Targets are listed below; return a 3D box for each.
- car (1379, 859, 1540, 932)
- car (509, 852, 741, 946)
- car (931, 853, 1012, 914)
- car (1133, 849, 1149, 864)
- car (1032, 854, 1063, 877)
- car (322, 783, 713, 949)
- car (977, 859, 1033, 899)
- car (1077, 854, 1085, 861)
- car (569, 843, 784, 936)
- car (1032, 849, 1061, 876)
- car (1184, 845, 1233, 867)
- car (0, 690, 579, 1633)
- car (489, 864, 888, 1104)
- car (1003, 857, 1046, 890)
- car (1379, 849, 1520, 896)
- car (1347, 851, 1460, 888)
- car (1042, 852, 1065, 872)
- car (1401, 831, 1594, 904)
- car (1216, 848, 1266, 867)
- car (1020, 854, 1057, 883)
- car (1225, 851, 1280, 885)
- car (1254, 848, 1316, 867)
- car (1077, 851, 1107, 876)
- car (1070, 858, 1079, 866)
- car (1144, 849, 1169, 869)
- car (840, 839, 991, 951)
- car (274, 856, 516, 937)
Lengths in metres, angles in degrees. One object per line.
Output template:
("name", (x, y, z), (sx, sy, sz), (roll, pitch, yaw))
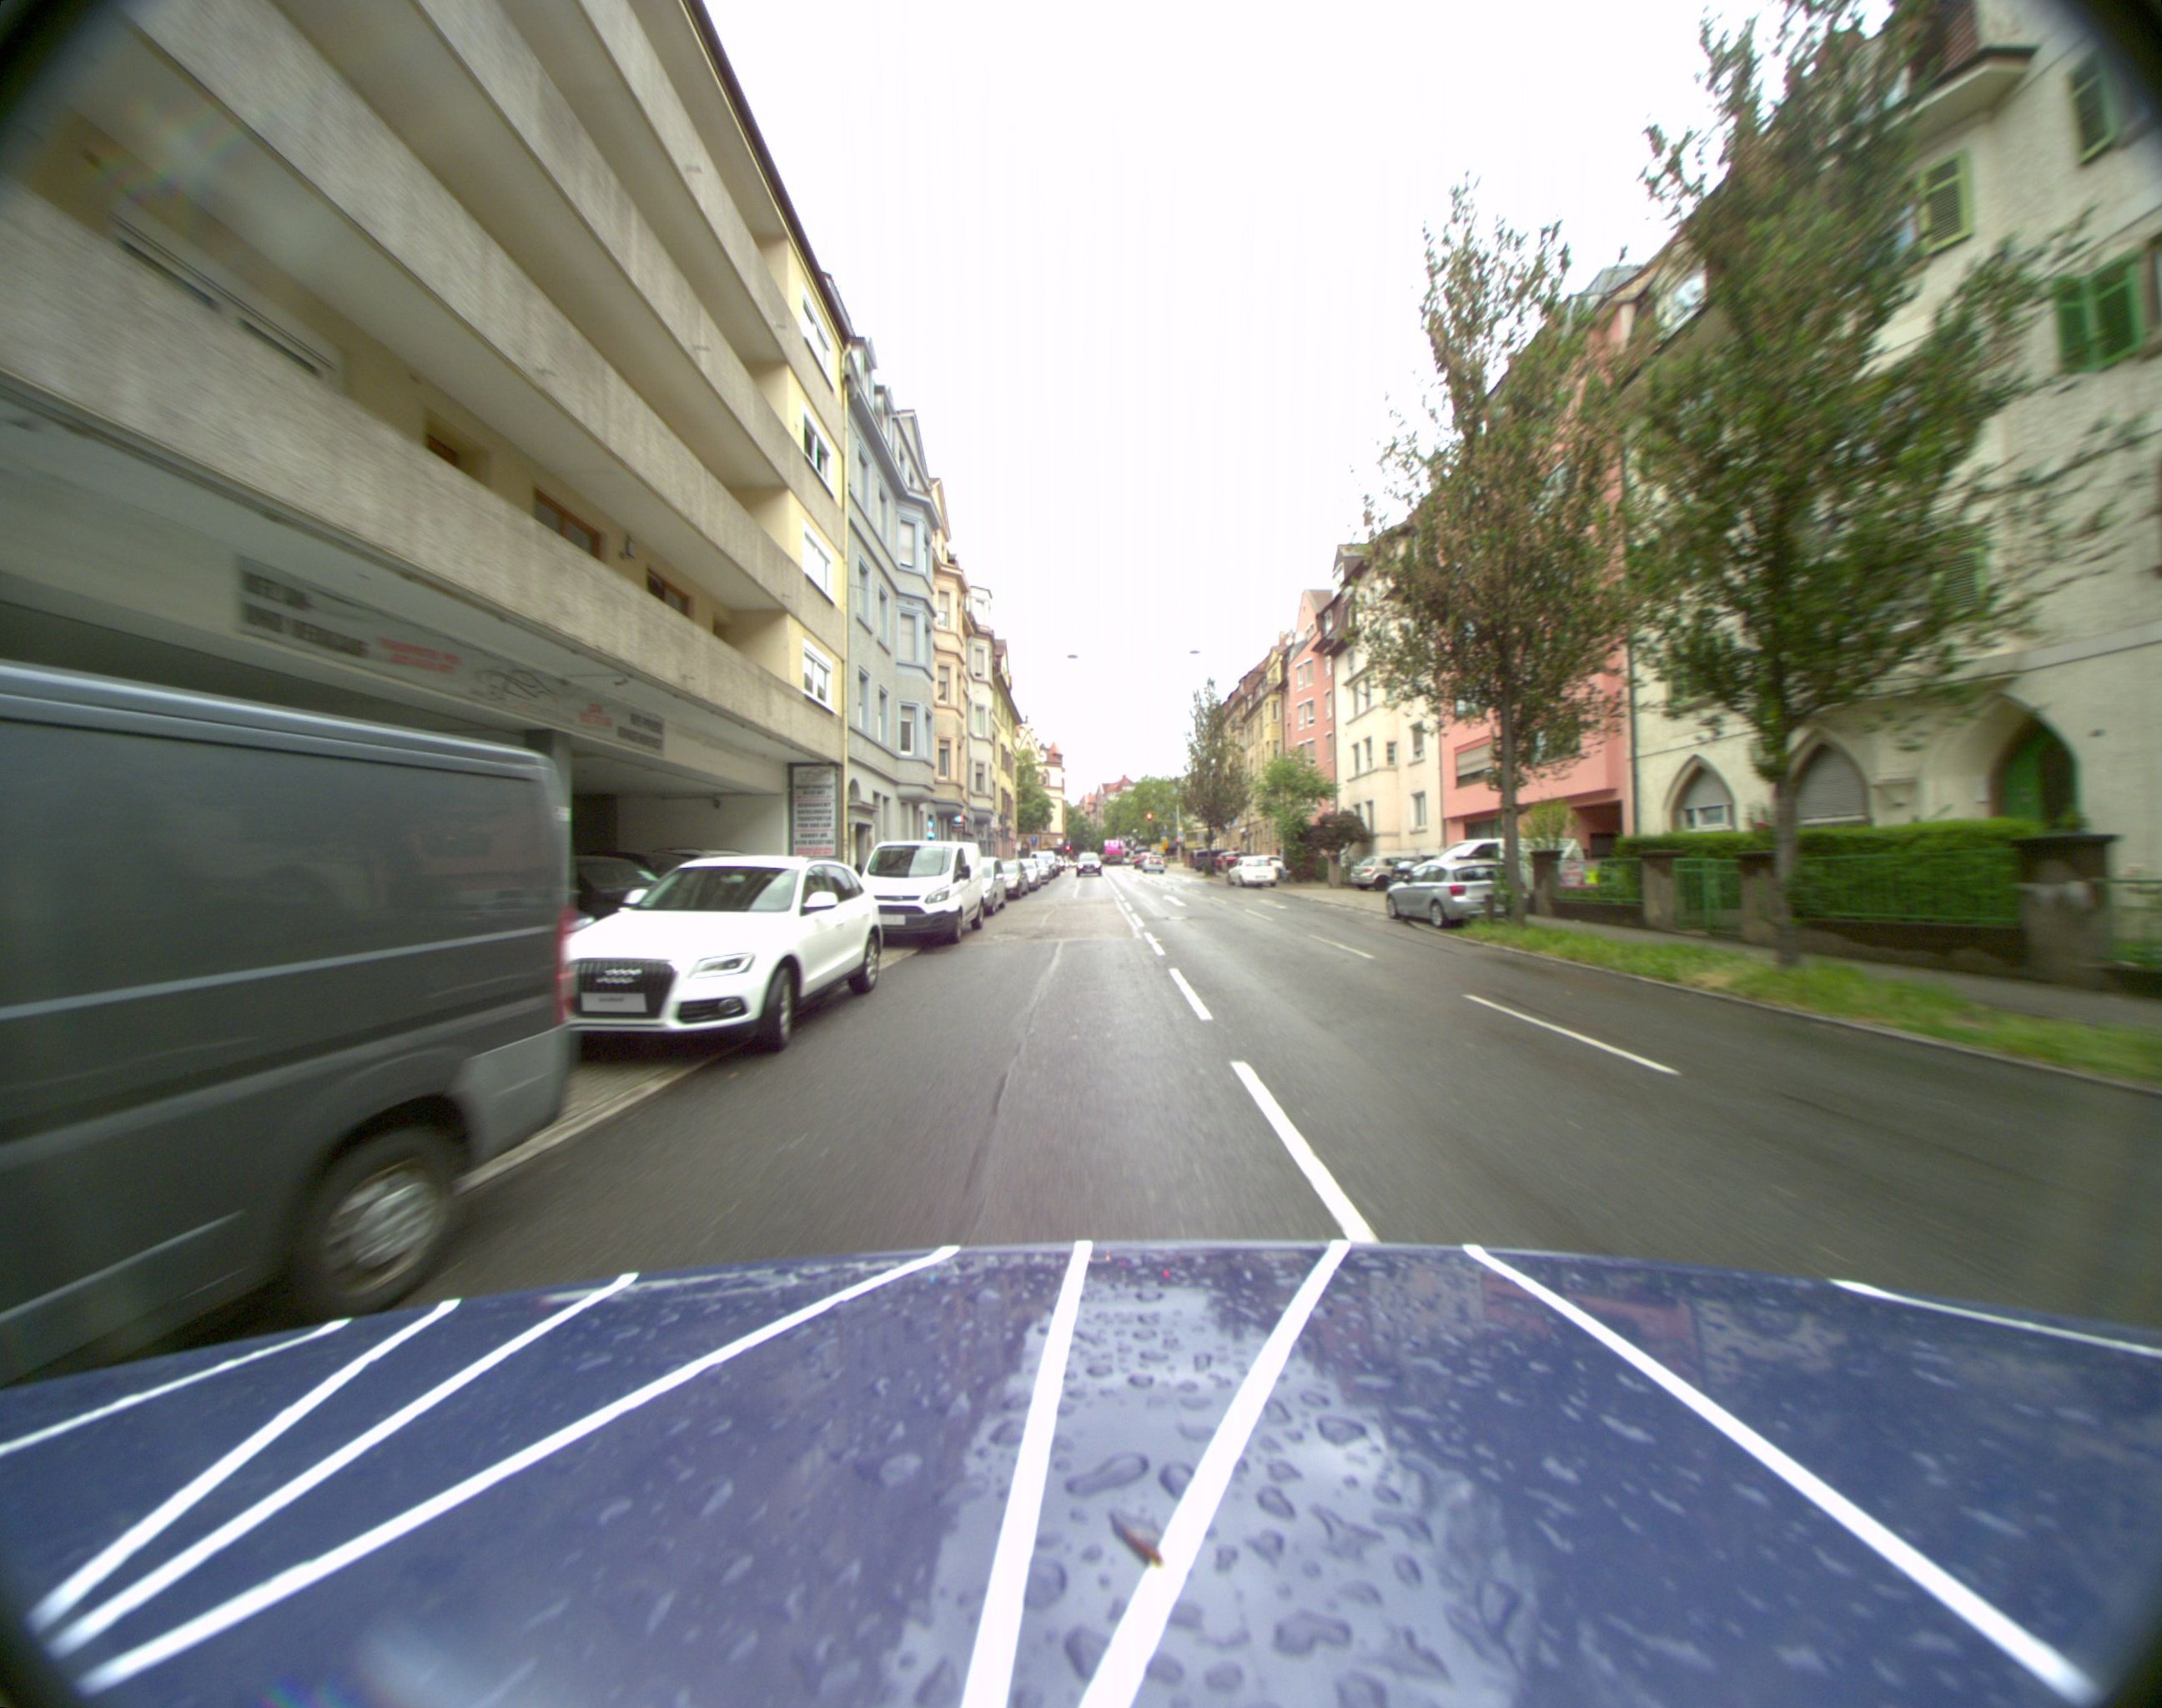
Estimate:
("car", (8.465, 0.850, 17.433), (1.685, 1.409, 4.137), (0, 1, 1))
("car", (-9.074, 0.865, 15.166), (3.992, 1.704, 1.716), (-2, 0, 17))
("car", (-3.171, 0.801, 22.827), (1.731, 1.588, 4.311), (1, 1, 1))
("car", (6.568, 0.282, 83.752), (1.669, 1.448, 3.653), (-2, 1, 4))
("car", (-2.108, 0.711, 48.966), (1.709, 1.434, 3.933), (0, 1, 1))
("car", (-6.627, 0.109, 9.006), (3.948, 1.631, 1.815), (0, 0, 20))
("car", (-2.968, 0.958, 30.537), (1.731, 1.434, 4.358), (0, 0, 1))
("car", (-0.058, 0.746, 152.682), (1.553, 1.386, 3.745), (0, 1, 1))
("car", (-9.599, 0.810, 18.085), (4.454, 2.001, 2.003), (-1, 0, 19))
("car", (-2.432, 0.568, 54.435), (1.826, 1.808, 4.520), (0, 1, 1))
("car", (11.216, 0.154, 66.846), (3.929, 1.836, 1.867), (-1, 1, -1))
("car", (-3.537, 0.709, 0.919), (2.159, 2.136, 5.509), (0, 1, 0))
("car", (-3.373, 0.968, 7.619), (1.750, 1.630, 4.273), (0, 1, 0))
("car", (-2.631, 0.874, 36.166), (1.709, 1.434, 3.933), (0, 1, 1))
("car", (12.506, 0.601, 25.940), (3.929, 1.389, 1.759), (-3, 1, -1))
("car", (13.159, 0.612, 31.111), (3.931, 1.389, 1.724), (-1, 1, -5))
("car", (-2.117, 0.574, 59.689), (1.627, 1.498, 3.745), (0, 1, 1))
("car", (12.387, 0.368, 22.795), (4.731, 1.894, 1.918), (-3, 1, -1))
("car", (13.632, 0.297, 64.753), (3.928, 1.613, 1.592), (-1, 1, 1))
("car", (-2.378, 0.790, 42.962), (1.709, 1.389, 3.933), (-4, 0, 1))
("car", (8.452, 0.651, 37.655), (1.670, 1.464, 3.651), (-3, 1, -3))
("car", (14.415, 0.264, 53.833), (3.928, 1.289, 1.646), (-1, 1, 1))
("car", (0.752, 0.663, 54.461), (1.890, 1.543, 3.999), (-4, 1, -1))
("car", (-1.141, 1.453, 141.576), (1.553, 1.386, 3.745), (0, 1, 1))
("car", (6.505, 0.382, 65.493), (1.772, 1.540, 3.652), (-2, 1, 1))
("car", (-3.174, 0.707, 15.719), (1.994, 1.944, 4.822), (0, 1, 1))
("car", (-13.761, 0.821, 15.365), (3.415, 1.456, 1.662), (-1, 1, 4))
